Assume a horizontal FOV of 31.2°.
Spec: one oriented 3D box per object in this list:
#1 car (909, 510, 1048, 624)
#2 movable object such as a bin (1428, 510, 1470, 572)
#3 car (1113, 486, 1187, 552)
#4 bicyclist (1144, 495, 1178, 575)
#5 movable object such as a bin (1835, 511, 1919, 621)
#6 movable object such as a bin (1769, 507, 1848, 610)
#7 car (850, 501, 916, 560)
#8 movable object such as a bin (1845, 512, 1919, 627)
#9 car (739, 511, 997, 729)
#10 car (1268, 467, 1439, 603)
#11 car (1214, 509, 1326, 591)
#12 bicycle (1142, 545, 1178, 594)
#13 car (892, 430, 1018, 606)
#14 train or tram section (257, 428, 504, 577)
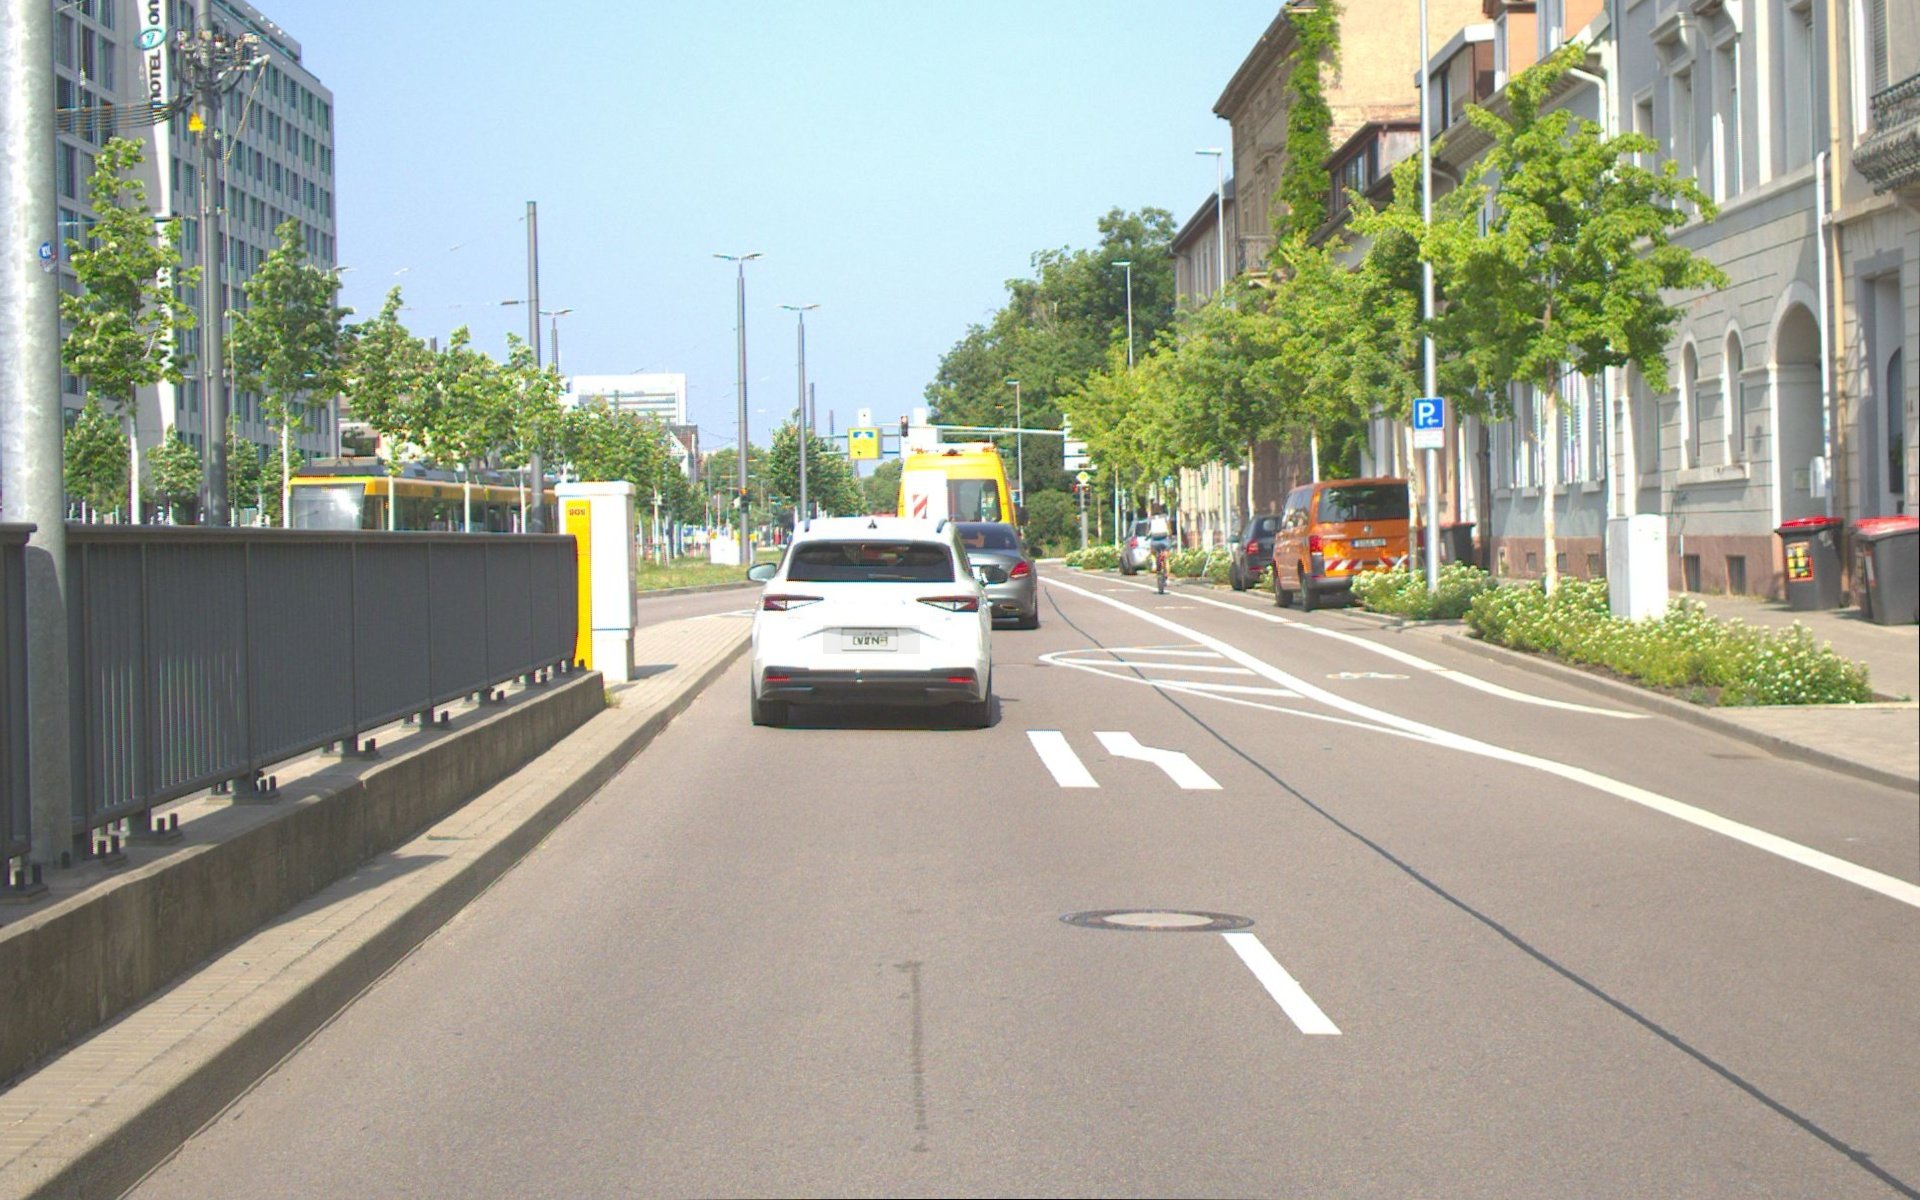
[{"bbox_3d":[0.235,-0.477,46.257,1.760,1.431,4.115,1,2,0],"label":"car"},{"bbox_3d":[9.515,-1.157,66.910,0.679,1.196,0.781,0,2,-1],"label":"movable object such as a bin"},{"bbox_3d":[5.363,-2.309,97.504,1.812,1.806,3.836,0,2,-1],"label":"car"},{"bbox_3d":[3.962,-1.292,67.930,0.639,1.571,0.771,-1,1,2],"label":"bicyclist"},{"bbox_3d":[9.934,-0.374,37.257,0.704,1.148,0.671,0,3,-1],"label":"movable object such as a bin"},{"bbox_3d":[9.799,-0.481,39.707,0.669,1.148,0.617,-4,5,-44],"label":"movable object such as a bin"},{"bbox_3d":[-2.425,-2.203,108.565,1.930,1.815,4.000,-1,1,1],"label":"car"},{"bbox_3d":[9.843,-0.326,36.287,0.781,1.168,0.808,0,3,-1],"label":"movable object such as a bin"},{"bbox_3d":[-0.679,0.095,27.192,1.870,1.569,4.000,-1,1,0],"label":"car"},{"bbox_3d":[6.103,-1.058,53.835,2.063,2.006,4.589,-1,2,-1],"label":"car"},{"bbox_3d":[6.027,-0.982,67.178,1.673,1.478,4.312,-2,1,-1],"label":"car"},{"bbox_3d":[3.955,-0.618,68.066,0.655,0.935,1.517,-1,1,2],"label":"bicycle"},{"bbox_3d":[-0.085,-1.474,58.833,2.020,2.786,5.402,-1,3,0],"label":"car"},{"bbox_3d":[-15.683,-2.603,94.942,2.906,3.663,18.136,1,1,3],"label":"train or tram section"}]
